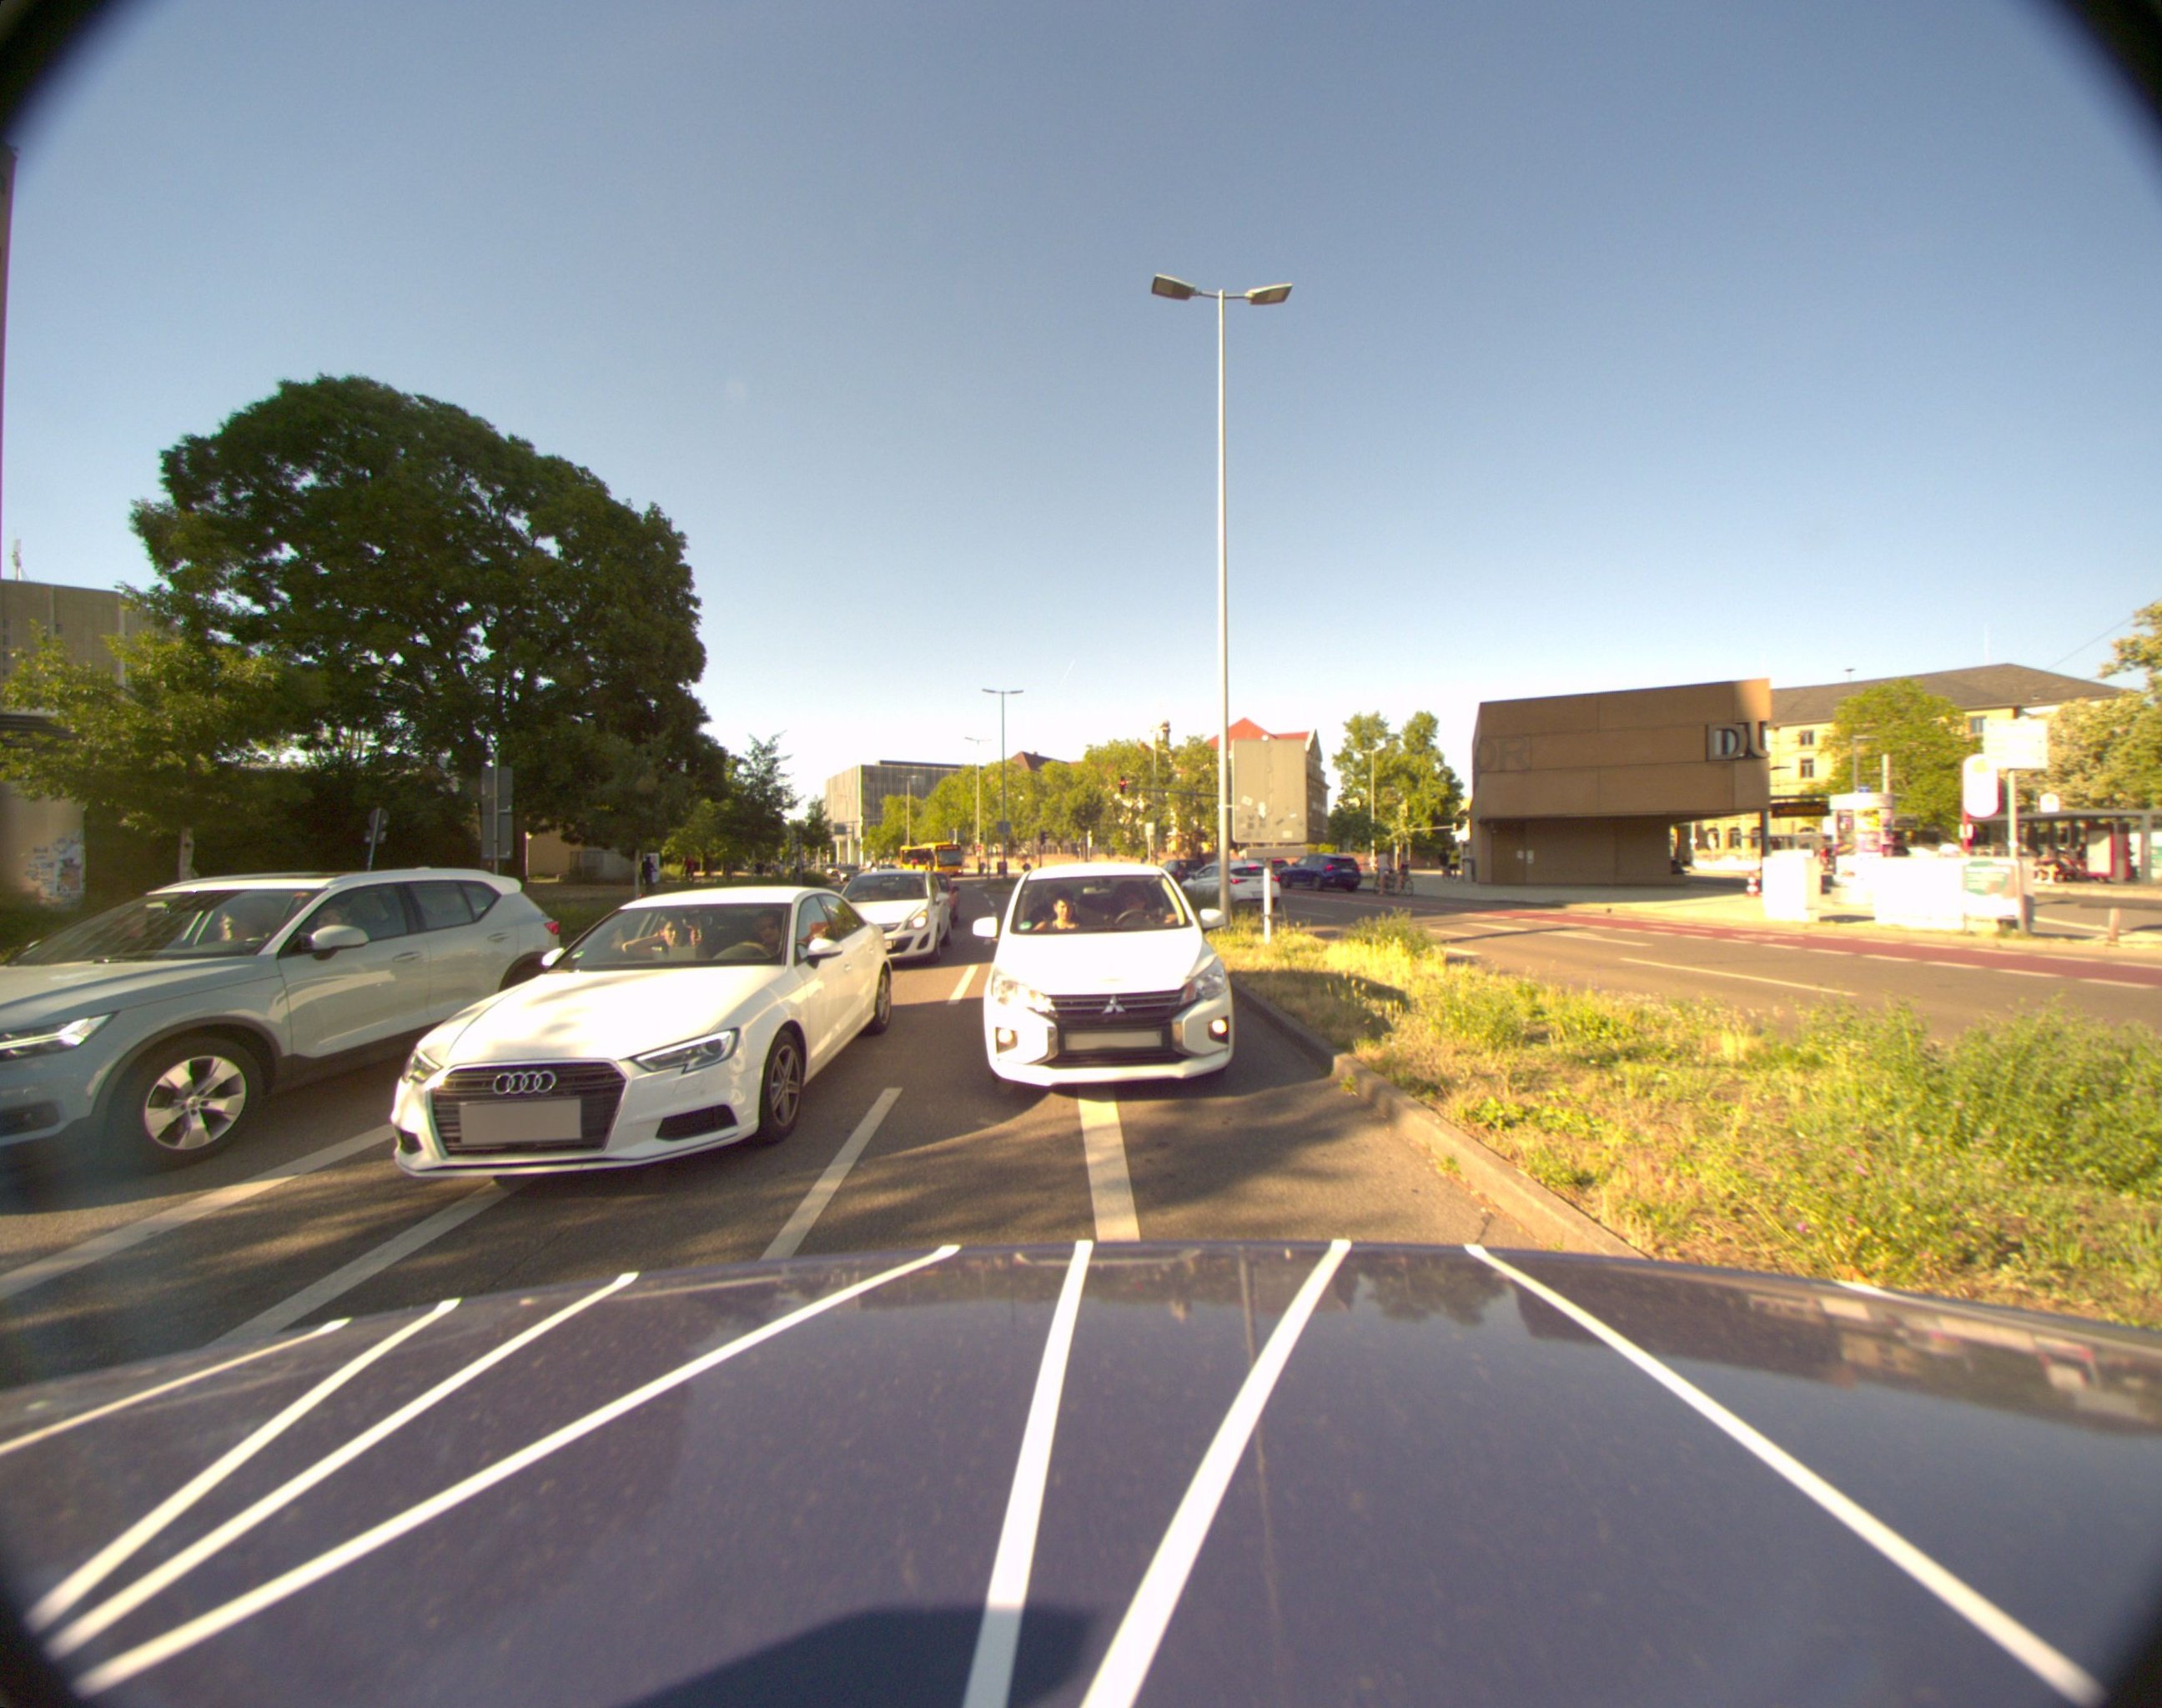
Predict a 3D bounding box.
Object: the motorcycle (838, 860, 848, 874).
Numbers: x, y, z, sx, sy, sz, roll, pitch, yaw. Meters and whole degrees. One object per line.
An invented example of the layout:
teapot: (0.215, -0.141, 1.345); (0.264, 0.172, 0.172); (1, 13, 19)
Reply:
motorcycle: (-23.112, 1.259, 73.771); (0.719, 1.297, 2.230); (-3, 1, -24)

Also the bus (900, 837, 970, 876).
bus: (-13.781, 0.233, 70.567); (3.091, 3.193, 12.518); (-3, 1, -26)

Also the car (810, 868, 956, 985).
car: (-3.074, 1.046, 12.579); (1.628, 1.451, 4.039); (-2, 1, -5)

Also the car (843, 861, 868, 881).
car: (-17.838, 1.328, 60.204); (1.757, 1.451, 4.183); (-2, 1, -16)

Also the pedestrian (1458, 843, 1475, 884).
pedestrian: (19.103, 0.451, 37.672); (0.655, 2.002, 0.469); (-2, 1, 20)

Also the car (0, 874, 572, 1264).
car: (-5.750, 1.051, 5.257); (1.628, 1.611, 4.223); (-2, 1, -2)

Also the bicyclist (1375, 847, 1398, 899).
bicyclist: (11.775, 0.728, 29.278); (0.611, 2.002, 0.565); (-1, 1, -15)

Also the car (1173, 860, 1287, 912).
car: (4.736, 0.975, 24.805); (1.758, 1.451, 4.182); (-3, 1, -19)

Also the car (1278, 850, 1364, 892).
car: (10.383, 0.686, 33.180); (1.757, 1.680, 4.184); (-1, 0, -12)

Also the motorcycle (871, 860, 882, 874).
motorcycle: (-20.193, 1.241, 74.849); (0.719, 1.297, 2.230); (-3, 1, -23)

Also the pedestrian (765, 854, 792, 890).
pedestrian: (-17.663, 1.050, 44.402); (1.143, 2.002, 1.285); (-2, 1, -10)

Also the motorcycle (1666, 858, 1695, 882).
motorcycle: (26.231, 0.703, 33.246); (0.948, 1.061, 0.331); (-1, 1, 39)

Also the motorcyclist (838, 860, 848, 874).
motorcyclist: (-23.122, 1.265, 73.794); (0.719, 1.297, 0.734); (-3, 1, -25)

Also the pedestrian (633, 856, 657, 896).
pedestrian: (-17.911, 0.894, 31.231); (0.596, 1.585, 0.594); (-2, 1, -8)

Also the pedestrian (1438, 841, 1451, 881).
pedestrian: (18.424, 0.328, 38.504); (0.467, 2.002, 0.657); (-2, 1, 17)

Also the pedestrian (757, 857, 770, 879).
pedestrian: (-29.775, 1.266, 71.267); (0.852, 2.002, 0.833); (-3, 1, -15)

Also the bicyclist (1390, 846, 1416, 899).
bicyclist: (12.475, 0.702, 29.409); (0.611, 2.002, 0.708); (-1, 1, -15)

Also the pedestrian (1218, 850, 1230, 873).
pedestrian: (11.902, 0.630, 63.359); (0.797, 1.886, 0.612); (0, 1, 40)

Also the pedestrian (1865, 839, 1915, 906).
pedestrian: (21.501, 0.490, 20.213); (0.713, 1.748, 0.583); (-2, 1, 20)

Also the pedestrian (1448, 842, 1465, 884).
pedestrian: (18.024, 0.428, 36.489); (0.655, 2.002, 0.469); (-2, 1, 20)

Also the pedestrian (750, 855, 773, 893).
pedestrian: (-17.207, 1.072, 40.928); (0.895, 2.002, 0.881); (-2, 1, -10)

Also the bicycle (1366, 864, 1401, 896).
bicycle: (11.742, 1.007, 29.518); (0.464, 1.185, 1.395); (-3, 1, -17)

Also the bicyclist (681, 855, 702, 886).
bicyclist: (-20.295, 0.835, 39.601); (0.617, 1.551, 0.870); (-2, 1, -8)

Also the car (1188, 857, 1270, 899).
car: (6.040, 0.940, 31.506); (1.850, 1.483, 4.388); (-2, 1, -10)

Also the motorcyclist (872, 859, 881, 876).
motorcyclist: (-20.130, 1.316, 74.684); (0.712, 1.581, 0.689); (-3, 1, -21)

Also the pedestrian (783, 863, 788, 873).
pedestrian: (-39.603, 1.864, 101.783); (0.439, 1.231, 0.495); (-1, 1, 1)

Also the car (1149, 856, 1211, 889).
car: (4.795, 0.864, 37.434); (1.757, 1.451, 4.184); (-2, 1, -11)

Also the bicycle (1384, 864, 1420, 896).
bicycle: (12.462, 0.979, 29.526); (0.464, 1.185, 1.395); (-3, 1, -17)

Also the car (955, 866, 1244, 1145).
car: (0.057, 0.911, 6.433); (1.628, 1.451, 4.040); (-2, 1, -2)

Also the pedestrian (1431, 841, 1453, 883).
pedestrian: (17.789, 0.381, 37.482); (0.777, 2.002, 0.773); (-2, 1, 13)

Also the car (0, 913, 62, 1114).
car: (-8.758, 1.239, 3.882); (1.628, 1.451, 4.040); (-2, 1, -2)

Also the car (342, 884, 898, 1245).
car: (-2.553, 1.034, 5.390); (1.628, 1.396, 3.832); (-2, 1, -2)

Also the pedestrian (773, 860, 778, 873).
pedestrian: (-41.182, 1.696, 102.421); (0.399, 1.676, 0.483); (-1, 1, 1)

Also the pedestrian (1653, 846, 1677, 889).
pedestrian: (27.797, 0.639, 36.158); (0.780, 2.002, 0.771); (-3, 2, -42)

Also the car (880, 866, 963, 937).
car: (-3.896, 1.095, 19.096); (1.628, 1.451, 4.039); (-2, 1, -7)

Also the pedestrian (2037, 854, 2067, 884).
pedestrian: (38.961, 0.611, 30.490); (0.539, 1.180, 0.659); (-2, 1, 29)

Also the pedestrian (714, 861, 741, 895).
pedestrian: (-18.405, 1.229, 39.566); (1.010, 1.711, 0.884); (-2, 1, -10)

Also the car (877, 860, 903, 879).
car: (-16.371, 1.294, 64.985); (1.758, 1.451, 4.182); (-3, 1, -19)

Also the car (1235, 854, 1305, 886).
car: (9.647, 0.790, 39.130); (1.850, 1.483, 4.388); (1, 0, -10)

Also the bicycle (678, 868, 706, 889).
bicycle: (-20.302, 1.267, 39.713); (0.660, 0.958, 2.033); (0, 1, -7)

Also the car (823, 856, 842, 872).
car: (-27.332, 1.031, 83.390); (1.748, 1.696, 3.993); (-1, 0, -21)
